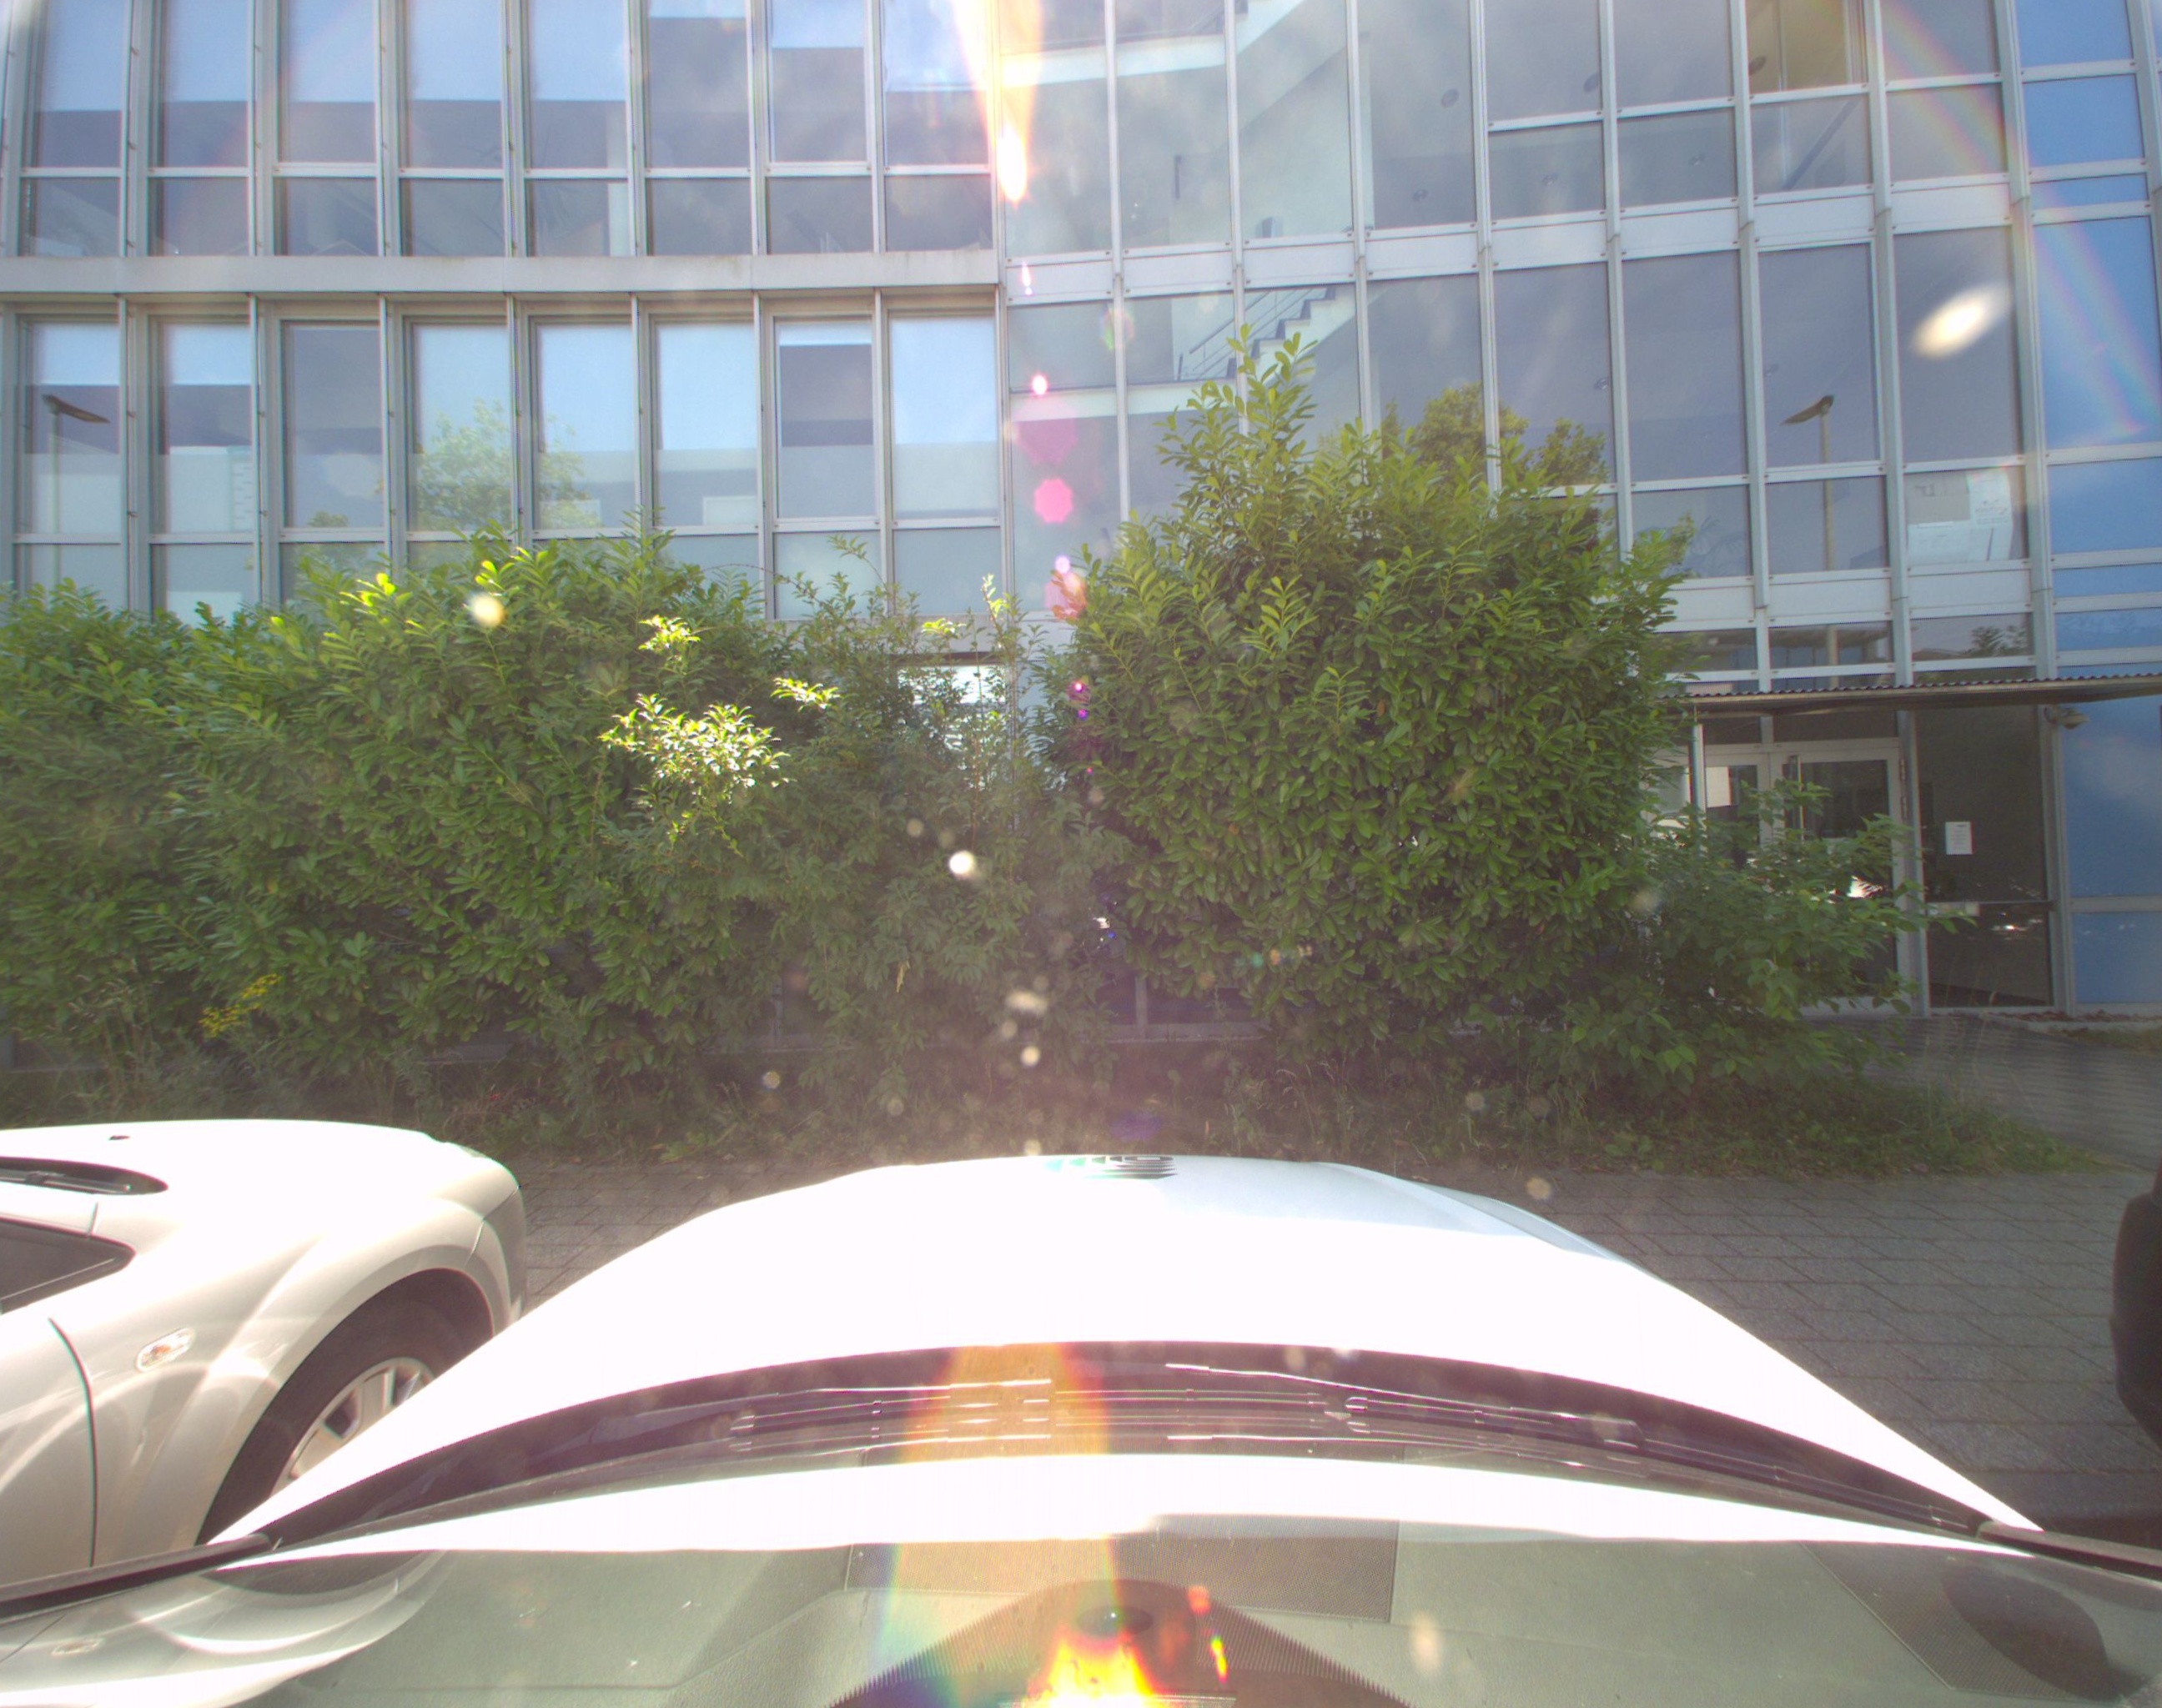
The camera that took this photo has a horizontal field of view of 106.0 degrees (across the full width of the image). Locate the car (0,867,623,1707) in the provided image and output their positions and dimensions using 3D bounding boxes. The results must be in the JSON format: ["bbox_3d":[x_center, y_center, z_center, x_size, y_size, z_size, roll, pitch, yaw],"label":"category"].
[{"bbox_3d":[-2.202,0.781,0.131,1.713,1.479,4.349,-1,0,1],"label":"car"}]
